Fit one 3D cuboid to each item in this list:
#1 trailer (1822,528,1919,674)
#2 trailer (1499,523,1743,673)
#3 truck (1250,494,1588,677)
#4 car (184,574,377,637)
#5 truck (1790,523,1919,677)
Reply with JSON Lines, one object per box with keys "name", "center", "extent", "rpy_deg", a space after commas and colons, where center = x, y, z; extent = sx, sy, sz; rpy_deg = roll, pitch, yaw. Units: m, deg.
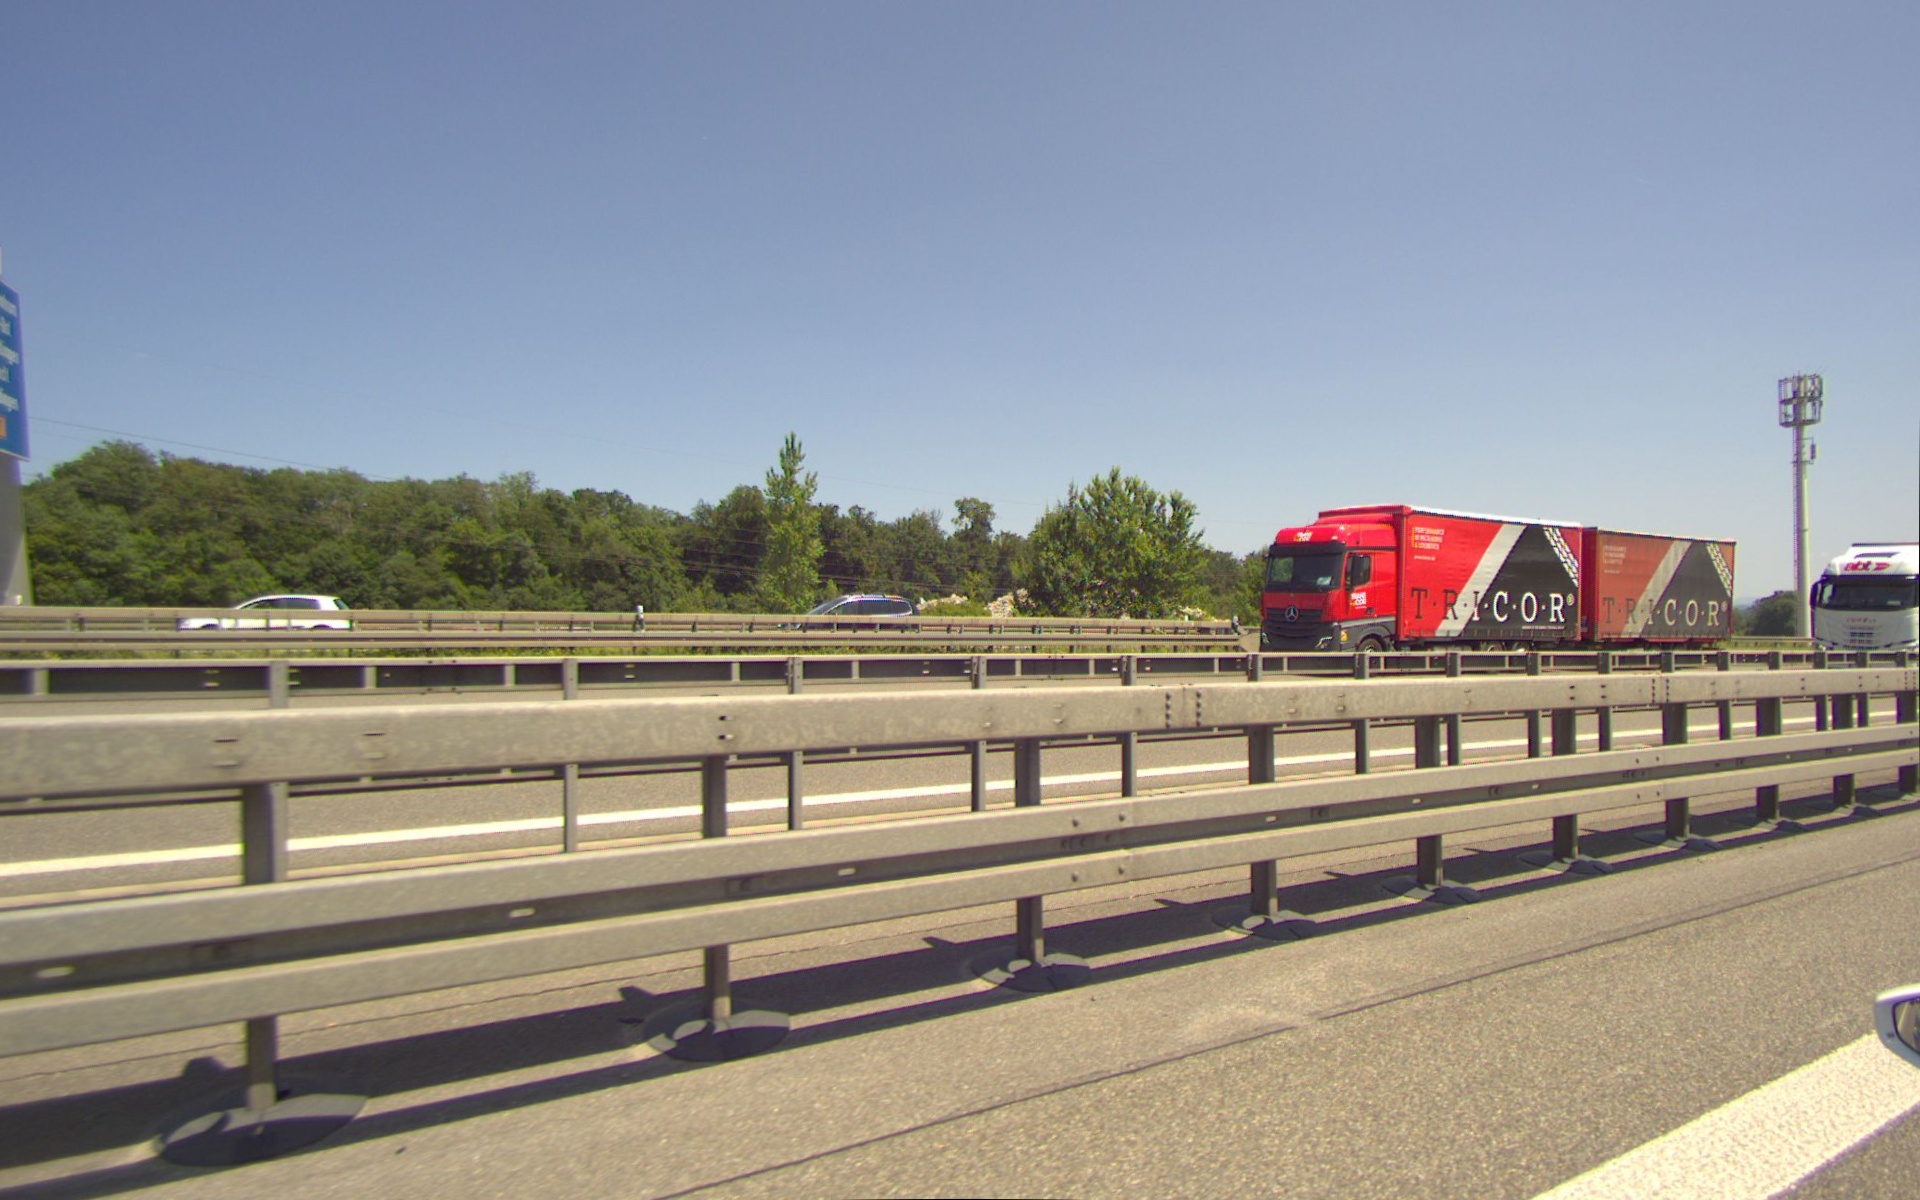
{"name": "trailer", "center": [34.828, 0.219, 34.572], "extent": [14.441, 4.400, 2.933], "rpy_deg": [2, 0, -29]}
{"name": "trailer", "center": [20.634, 0.038, 31.192], "extent": [8.609, 4.160, 2.548], "rpy_deg": [2, 0, -29]}
{"name": "truck", "center": [12.360, -0.217, 26.533], "extent": [10.223, 4.170, 2.570], "rpy_deg": [1, 0, -30]}
{"name": "car", "center": [-19.311, 0.171, 28.802], "extent": [4.334, 1.639, 1.862], "rpy_deg": [2, 0, -28]}
{"name": "truck", "center": [29.669, 0.067, 31.752], "extent": [6.831, 4.402, 2.915], "rpy_deg": [2, 0, -29]}
